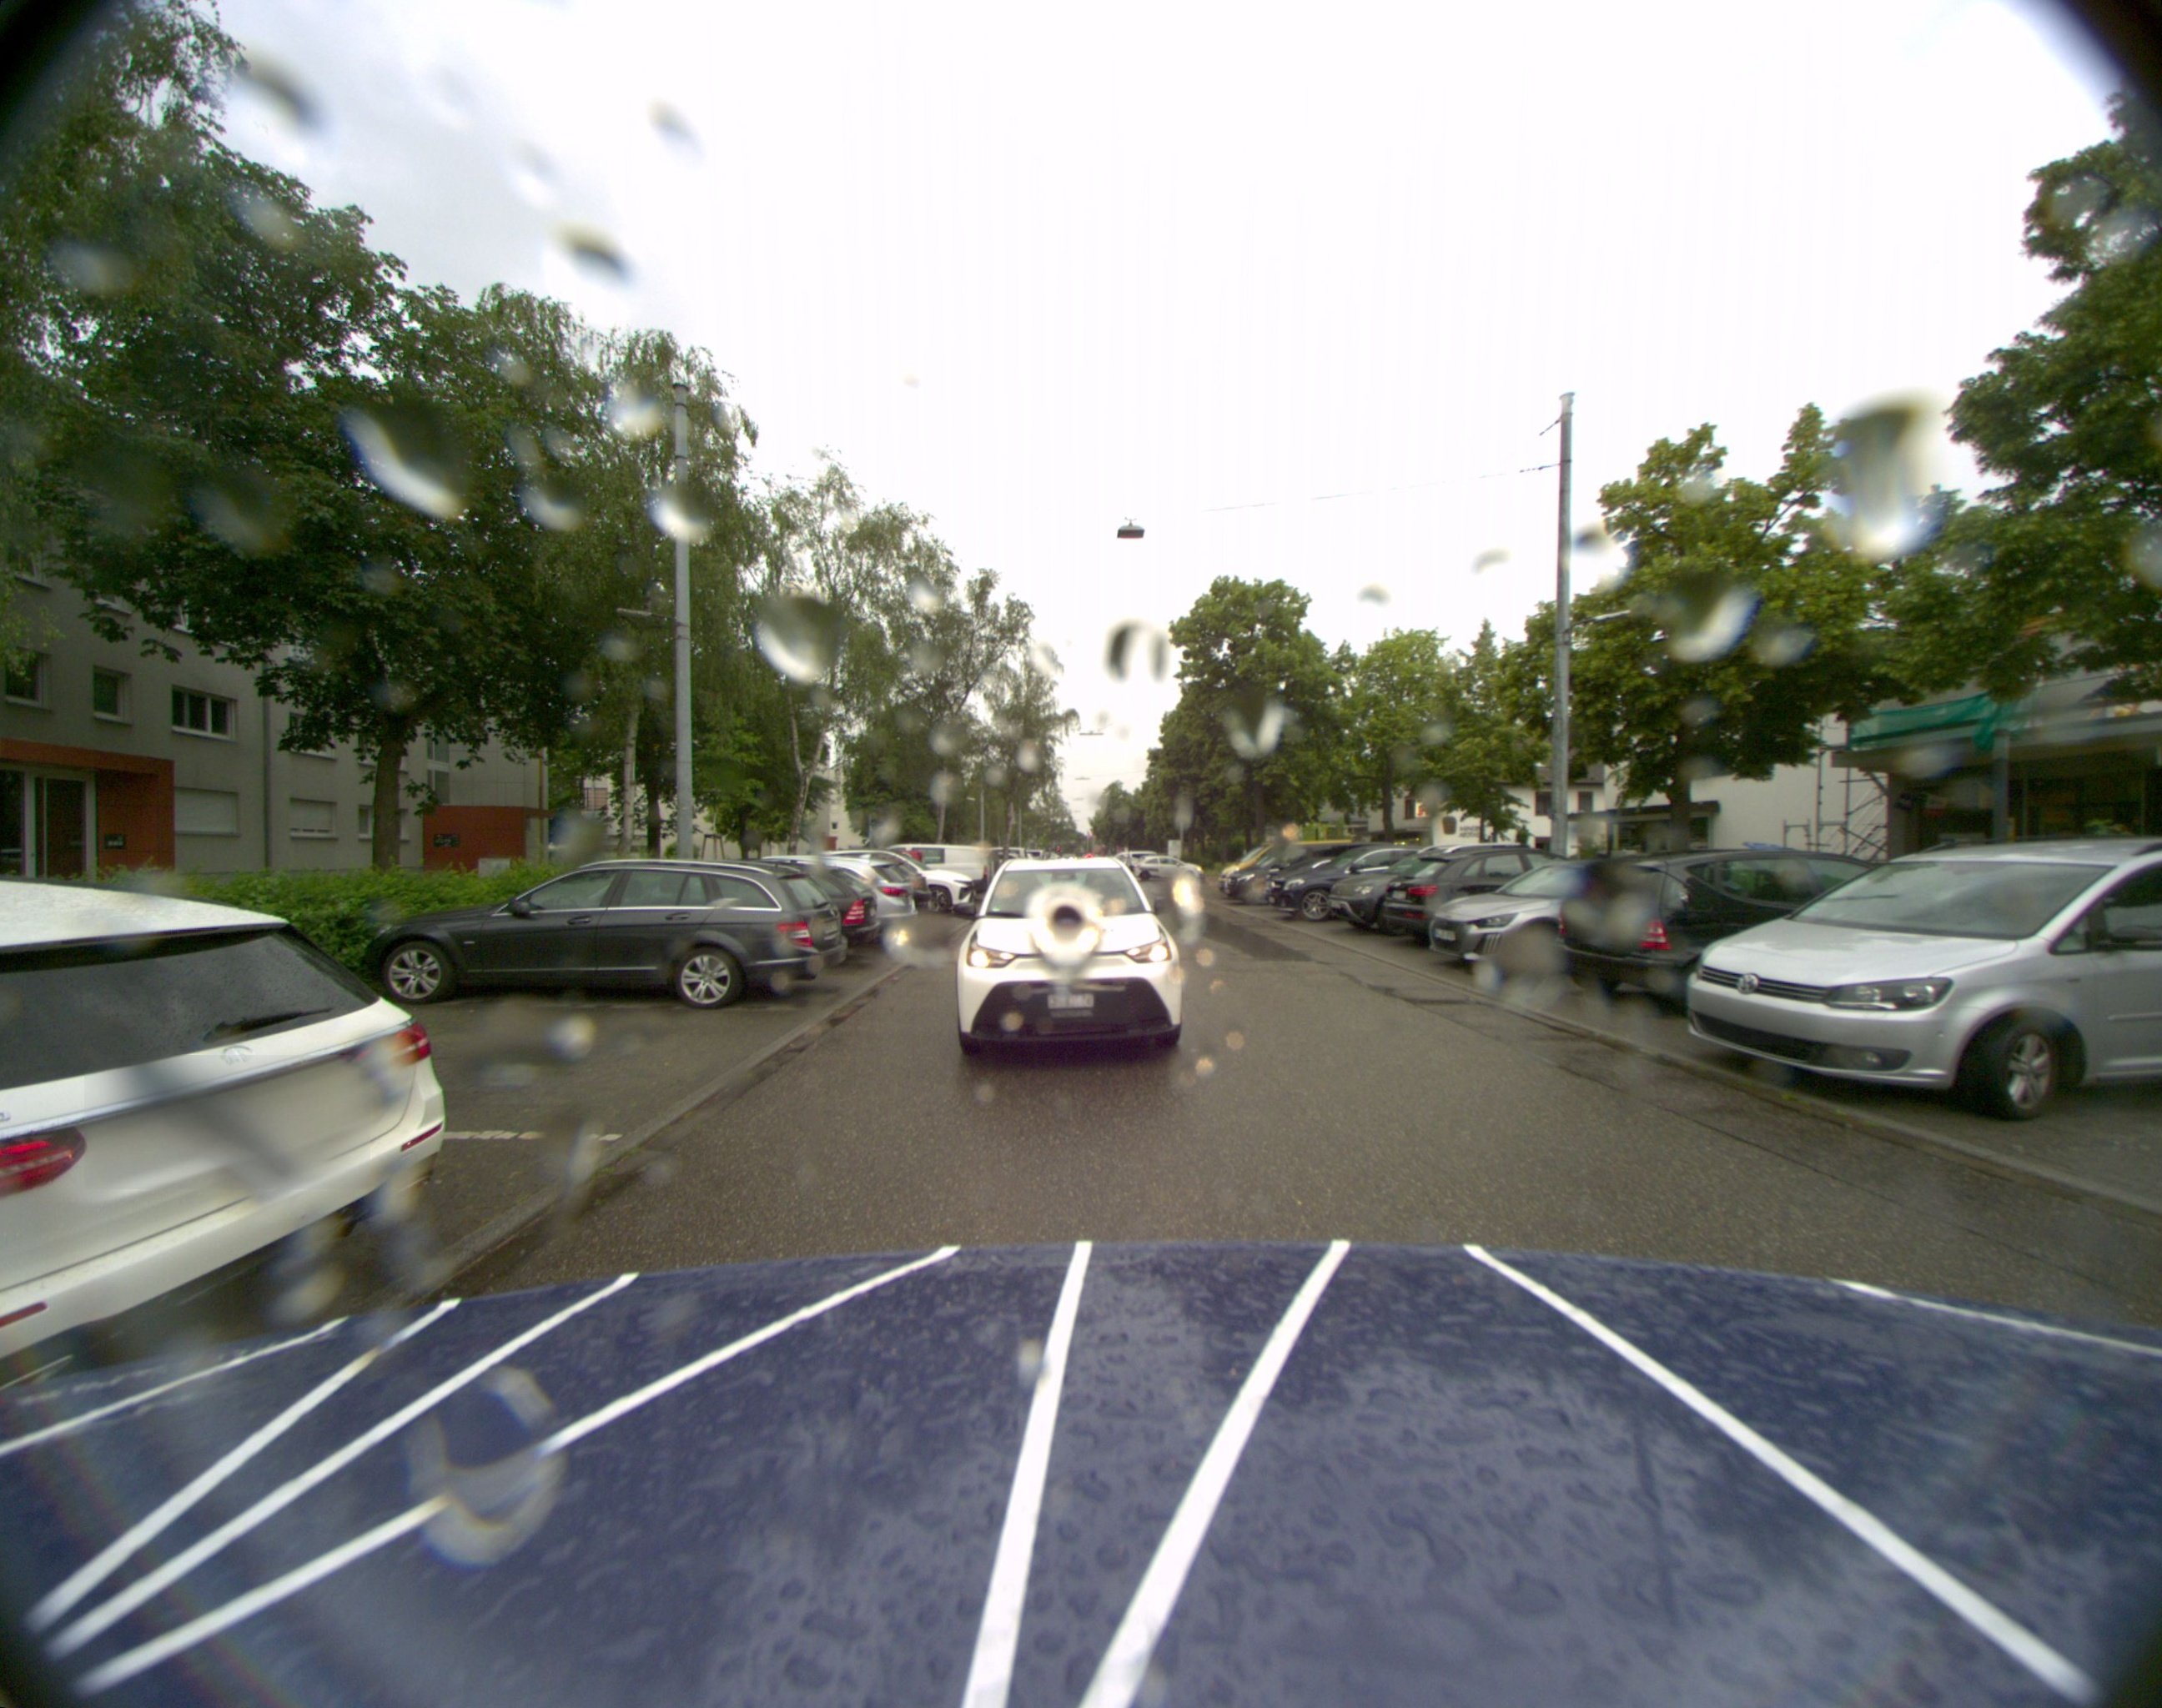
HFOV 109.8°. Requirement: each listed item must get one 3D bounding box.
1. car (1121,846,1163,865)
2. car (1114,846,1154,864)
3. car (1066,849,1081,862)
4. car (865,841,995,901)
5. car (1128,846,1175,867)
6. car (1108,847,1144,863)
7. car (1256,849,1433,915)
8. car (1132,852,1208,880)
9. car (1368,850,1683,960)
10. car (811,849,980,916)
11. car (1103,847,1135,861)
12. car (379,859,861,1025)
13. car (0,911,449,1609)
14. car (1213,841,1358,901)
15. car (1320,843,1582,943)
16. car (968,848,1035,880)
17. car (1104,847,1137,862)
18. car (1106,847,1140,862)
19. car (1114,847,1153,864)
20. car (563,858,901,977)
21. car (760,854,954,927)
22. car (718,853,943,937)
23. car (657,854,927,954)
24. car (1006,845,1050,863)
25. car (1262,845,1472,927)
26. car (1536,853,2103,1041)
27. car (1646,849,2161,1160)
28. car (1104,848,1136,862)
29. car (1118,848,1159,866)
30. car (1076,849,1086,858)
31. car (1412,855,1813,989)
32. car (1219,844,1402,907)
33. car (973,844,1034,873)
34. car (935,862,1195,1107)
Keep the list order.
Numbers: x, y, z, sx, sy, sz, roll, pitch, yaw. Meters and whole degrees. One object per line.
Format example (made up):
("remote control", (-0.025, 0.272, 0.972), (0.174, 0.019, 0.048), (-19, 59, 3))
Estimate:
("car", (6.082, 0.148, 75.976), (3.998, 1.675, 1.999), (-2, 1, -3))
("car", (5.672, 0.095, 81.308), (3.998, 1.675, 1.999), (-2, 1, -3))
("car", (-1.081, 0.213, 113.357), (1.998, 1.804, 3.999), (-2, 1, 1))
("car", (-5.101, 0.571, 26.172), (4.182, 1.856, 1.679), (2, 1, -6))
("car", (6.354, 0.230, 68.832), (3.998, 1.675, 1.999), (-2, 1, -3))
("car", (5.341, 0.118, 90.306), (3.998, 1.675, 1.999), (-2, 1, -3))
("car", (7.213, 0.729, 21.039), (4.283, 1.617, 1.715), (-2, 1, -2))
("car", (5.152, 0.674, 44.412), (4.254, 1.446, 2.000), (-2, 1, 1))
("car", (7.264, 0.788, 12.674), (4.283, 1.586, 1.715), (-2, 1, -2))
("car", (-5.008, 0.750, 20.905), (4.179, 1.609, 1.680), (2, 1, 1))
("car", (4.977, 0.018, 99.167), (3.998, 1.675, 1.999), (-2, 1, -3))
("car", (-4.622, 0.859, 8.099), (4.049, 1.431, 1.680), (2, 1, -3))
("car", (-4.751, 0.919, 2.066), (4.623, 1.431, 1.680), (2, 1, 0))
("car", (7.178, 0.563, 26.923), (4.657, 1.947, 1.715), (-2, 1, -2))
("car", (7.096, 0.706, 14.847), (4.283, 1.717, 1.715), (-2, 1, -2))
("car", (-5.110, 0.645, 49.270), (3.995, 1.902, 1.902), (-2, 1, 4))
("car", (5.034, 0.045, 96.934), (3.998, 1.675, 1.999), (-2, 1, -3))
("car", (5.225, 0.070, 94.412), (3.998, 1.675, 1.999), (-2, 1, -3))
("car", (5.791, 0.185, 83.749), (3.998, 1.675, 1.999), (-2, 1, -3))
("car", (-4.829, 0.855, 10.954), (4.049, 1.431, 1.680), (2, 1, -3))
("car", (-5.168, 0.829, 17.896), (4.049, 1.488, 1.680), (2, 1, -3))
("car", (-5.009, 0.802, 15.597), (4.049, 1.488, 1.680), (2, 1, -3))
("car", (-4.877, 0.827, 13.252), (4.049, 1.488, 1.680), (2, 1, -3))
("car", (-5.199, -0.022, 74.995), (3.995, 1.670, 1.902), (-2, 1, 4))
("car", (6.640, 0.699, 17.928), (4.283, 1.717, 1.715), (-2, 1, -2))
("car", (7.267, 0.842, 7.751), (4.283, 1.556, 1.635), (-2, 1, -2))
("car", (6.615, 0.841, 5.196), (4.283, 1.625, 1.715), (-2, 1, -2))
("car", (5.215, 0.067, 101.579), (3.998, 1.675, 1.999), (-2, 1, -3))
("car", (5.936, 0.259, 78.641), (3.998, 1.675, 1.999), (-2, 1, -3))
("car", (-0.056, -0.101, 156.767), (1.998, 1.804, 3.999), (-2, 1, 1))
("car", (7.010, 0.836, 10.301), (4.283, 1.523, 1.715), (-2, 1, -2))
("car", (7.115, 0.637, 23.825), (5.177, 1.789, 1.715), (-2, 1, -2))
("car", (-5.499, 0.296, 54.104), (3.995, 1.902, 1.902), (-2, 1, 4))
("car", (-0.188, 0.914, 7.288), (1.733, 1.519, 4.138), (-2, 1, -3))
